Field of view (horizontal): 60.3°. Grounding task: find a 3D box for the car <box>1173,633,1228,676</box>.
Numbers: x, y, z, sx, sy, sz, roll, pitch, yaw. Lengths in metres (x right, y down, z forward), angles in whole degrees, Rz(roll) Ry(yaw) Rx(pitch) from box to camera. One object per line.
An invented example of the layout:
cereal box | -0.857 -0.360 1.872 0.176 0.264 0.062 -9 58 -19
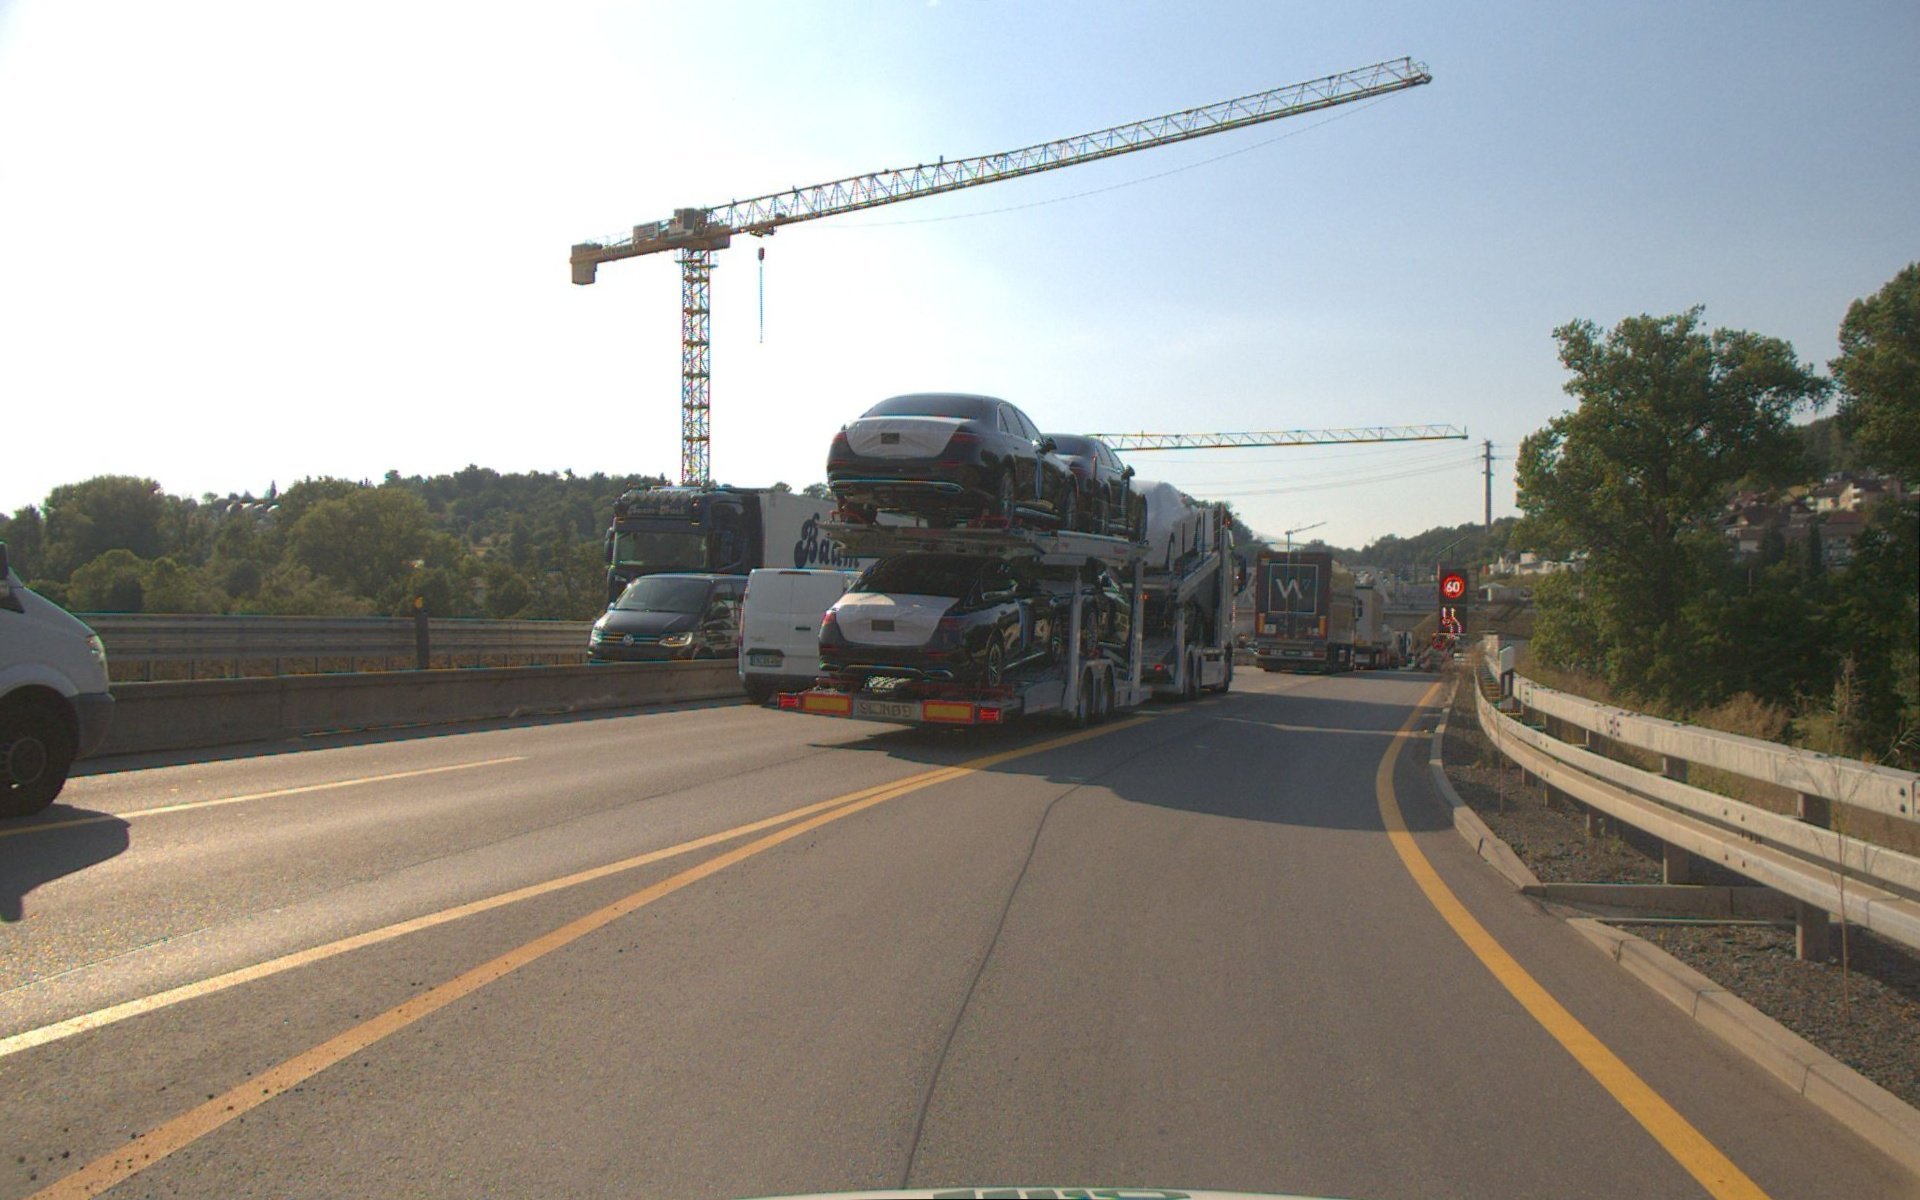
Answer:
car | 9.976 2.244 68.455 1.791 1.683 4.002 -1 -2 15

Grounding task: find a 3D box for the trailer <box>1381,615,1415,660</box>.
trailer | 45.372 3.859 171.067 3.038 4.390 14.259 0 -1 16

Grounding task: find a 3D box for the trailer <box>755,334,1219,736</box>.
trailer | 1.418 -0.486 24.659 2.797 4.067 15.754 0 -1 16

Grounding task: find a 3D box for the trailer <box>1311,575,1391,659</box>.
trailer | 20.787 0.971 87.231 3.313 4.067 14.752 0 -1 16

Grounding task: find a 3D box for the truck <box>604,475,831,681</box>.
truck | -5.222 -0.361 36.720 2.572 4.138 6.132 -1 -2 17

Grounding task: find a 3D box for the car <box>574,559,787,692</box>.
car | -4.597 0.458 27.912 1.951 2.049 4.497 -1 -2 13

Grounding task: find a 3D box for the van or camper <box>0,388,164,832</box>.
van or camper | -7.137 0.015 8.606 1.951 2.666 5.907 1 -1 15

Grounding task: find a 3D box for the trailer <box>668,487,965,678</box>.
trailer | -3.182 -0.208 43.144 2.572 4.138 14.085 -1 -2 17

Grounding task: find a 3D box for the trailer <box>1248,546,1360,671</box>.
trailer | 12.781 0.423 60.680 2.896 4.164 10.797 -1 -2 18

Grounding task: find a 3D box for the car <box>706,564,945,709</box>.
car | -1.983 0.554 26.265 1.986 2.015 4.981 2 0 17

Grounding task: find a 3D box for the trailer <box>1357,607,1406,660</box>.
trailer | 34.541 2.732 135.226 3.313 4.067 14.752 0 -1 16

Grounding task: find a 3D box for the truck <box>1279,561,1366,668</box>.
truck | 14.708 0.630 66.720 2.824 4.067 6.627 0 -1 18

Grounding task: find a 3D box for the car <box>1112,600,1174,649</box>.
car | 7.017 0.959 63.127 1.791 1.783 4.002 -1 -2 15

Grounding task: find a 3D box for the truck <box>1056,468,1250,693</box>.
truck | 4.074 -0.283 33.509 2.788 4.067 6.628 0 -1 16

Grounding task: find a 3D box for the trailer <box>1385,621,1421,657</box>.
trailer | 56.775 5.028 211.709 4.010 4.390 14.259 0 -1 16
